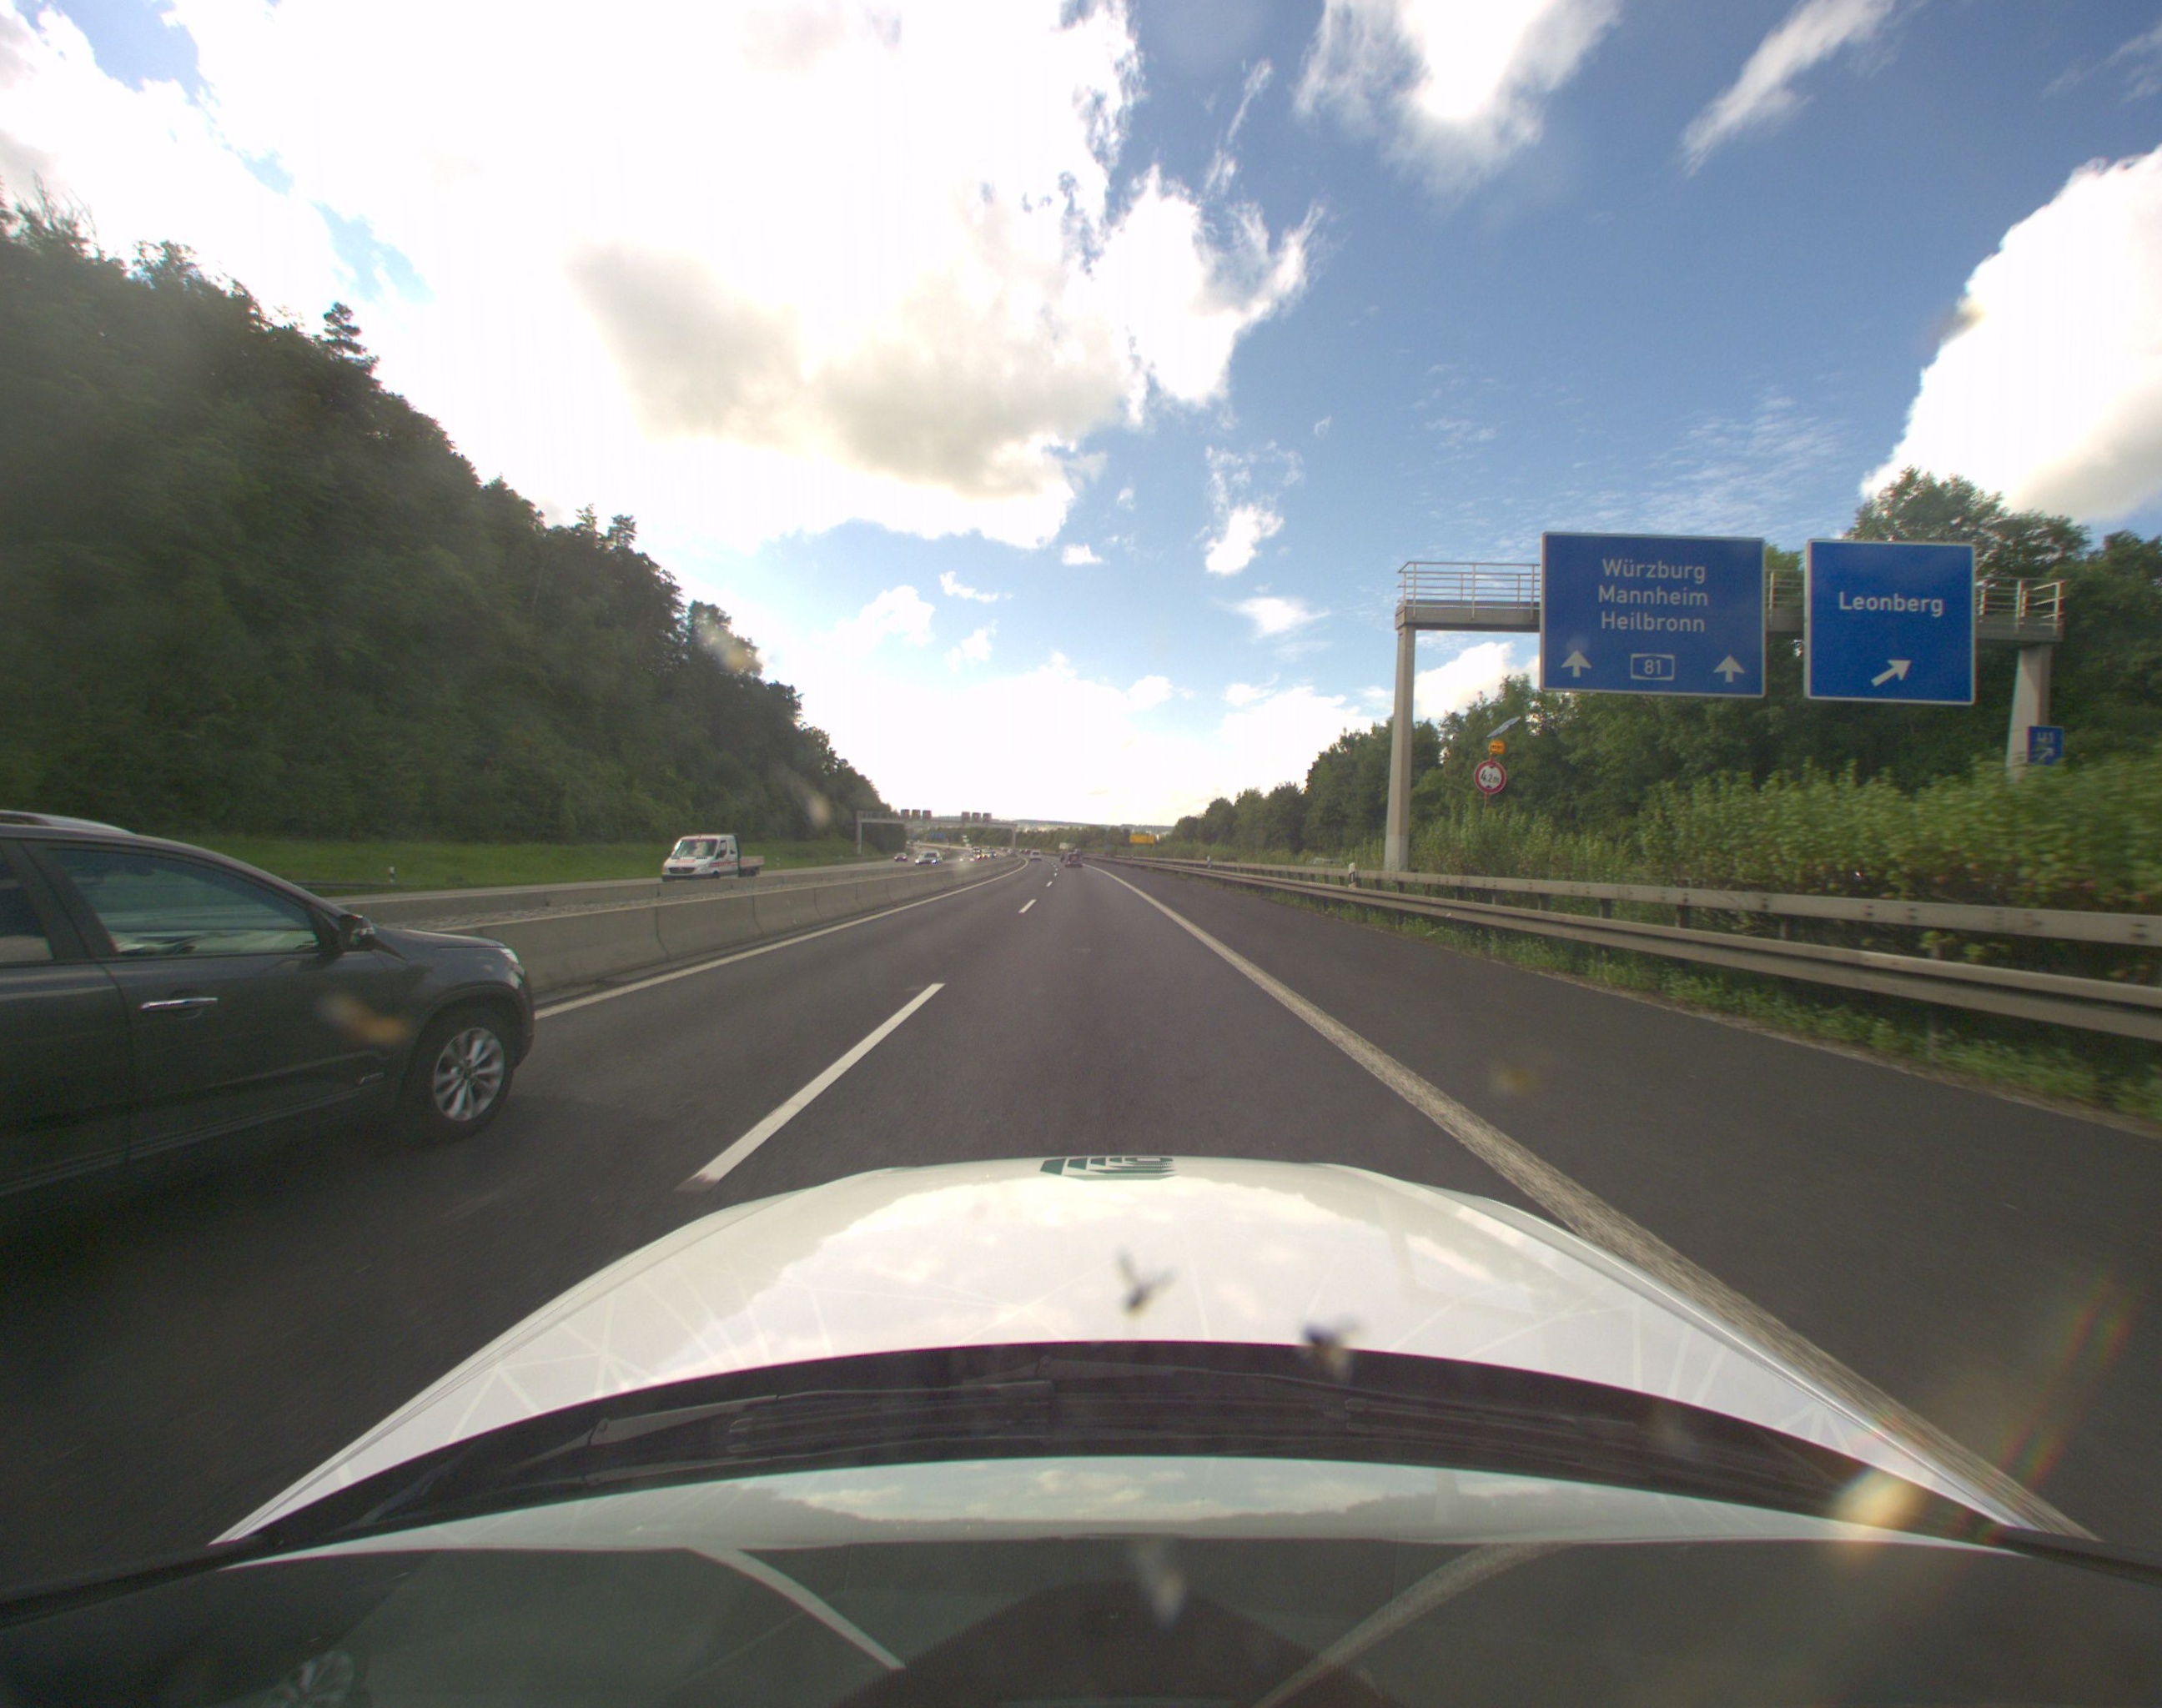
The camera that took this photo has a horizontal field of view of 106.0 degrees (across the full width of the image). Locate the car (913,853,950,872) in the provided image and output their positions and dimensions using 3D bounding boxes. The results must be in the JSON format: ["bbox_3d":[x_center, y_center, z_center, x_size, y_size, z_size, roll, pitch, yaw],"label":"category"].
[{"bbox_3d":[-12.688,0.671,69.373,1.975,1.510,5.962,0,0,1],"label":"car"}]

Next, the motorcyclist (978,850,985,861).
[{"bbox_3d":[-14.516,0.235,119.128,0.892,1.633,0.921,0,0,-1],"label":"motorcyclist"}]

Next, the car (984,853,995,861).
[{"bbox_3d":[-18.641,0.611,165.797,1.871,1.697,4.312,0,0,-1],"label":"car"}]

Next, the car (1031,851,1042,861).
[{"bbox_3d":[-7.830,0.311,143.540,1.989,1.684,3.994,0,-1,-4],"label":"car"}]

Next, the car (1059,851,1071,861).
[{"bbox_3d":[-2.517,0.336,129.445,1.584,1.597,4.089,0,1,-5],"label":"car"}]

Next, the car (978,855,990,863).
[{"bbox_3d":[-17.515,0.868,147.820,1.755,1.460,4.293,0,0,-1],"label":"car"}]

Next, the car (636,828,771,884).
[{"bbox_3d":[-15.994,0.076,35.203,2.194,2.130,8.072,0,0,-1],"label":"car"}]

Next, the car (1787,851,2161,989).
[{"bbox_3d":[12.643,0.719,11.328,1.776,1.519,4.680,0,0,3],"label":"car"}]

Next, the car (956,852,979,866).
[{"bbox_3d":[-13.191,0.582,95.146,1.987,1.627,4.777,0,-1,0],"label":"car"}]

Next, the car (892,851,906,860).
[{"bbox_3d":[-31.175,0.272,139.370,1.735,1.510,3.993,0,0,-5],"label":"car"}]

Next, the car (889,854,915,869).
[{"bbox_3d":[-18.484,0.785,84.187,1.909,1.510,3.999,0,0,-1],"label":"car"}]

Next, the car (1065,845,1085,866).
[{"bbox_3d":[-0.687,0.118,88.636,2.026,2.151,3.997,0,1,-2],"label":"car"}]

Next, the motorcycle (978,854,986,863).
[{"bbox_3d":[-14.500,0.633,119.175,0.920,1.188,2.637,0,0,-2],"label":"motorcycle"}]

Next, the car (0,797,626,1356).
[{"bbox_3d":[-4.237,0.692,3.192,1.810,1.736,5.190,0,0,2],"label":"car"}]

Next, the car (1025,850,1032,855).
[{"bbox_3d":[-16.224,-0.500,252.106,1.605,1.558,3.986,0,-1,-10],"label":"car"}]
